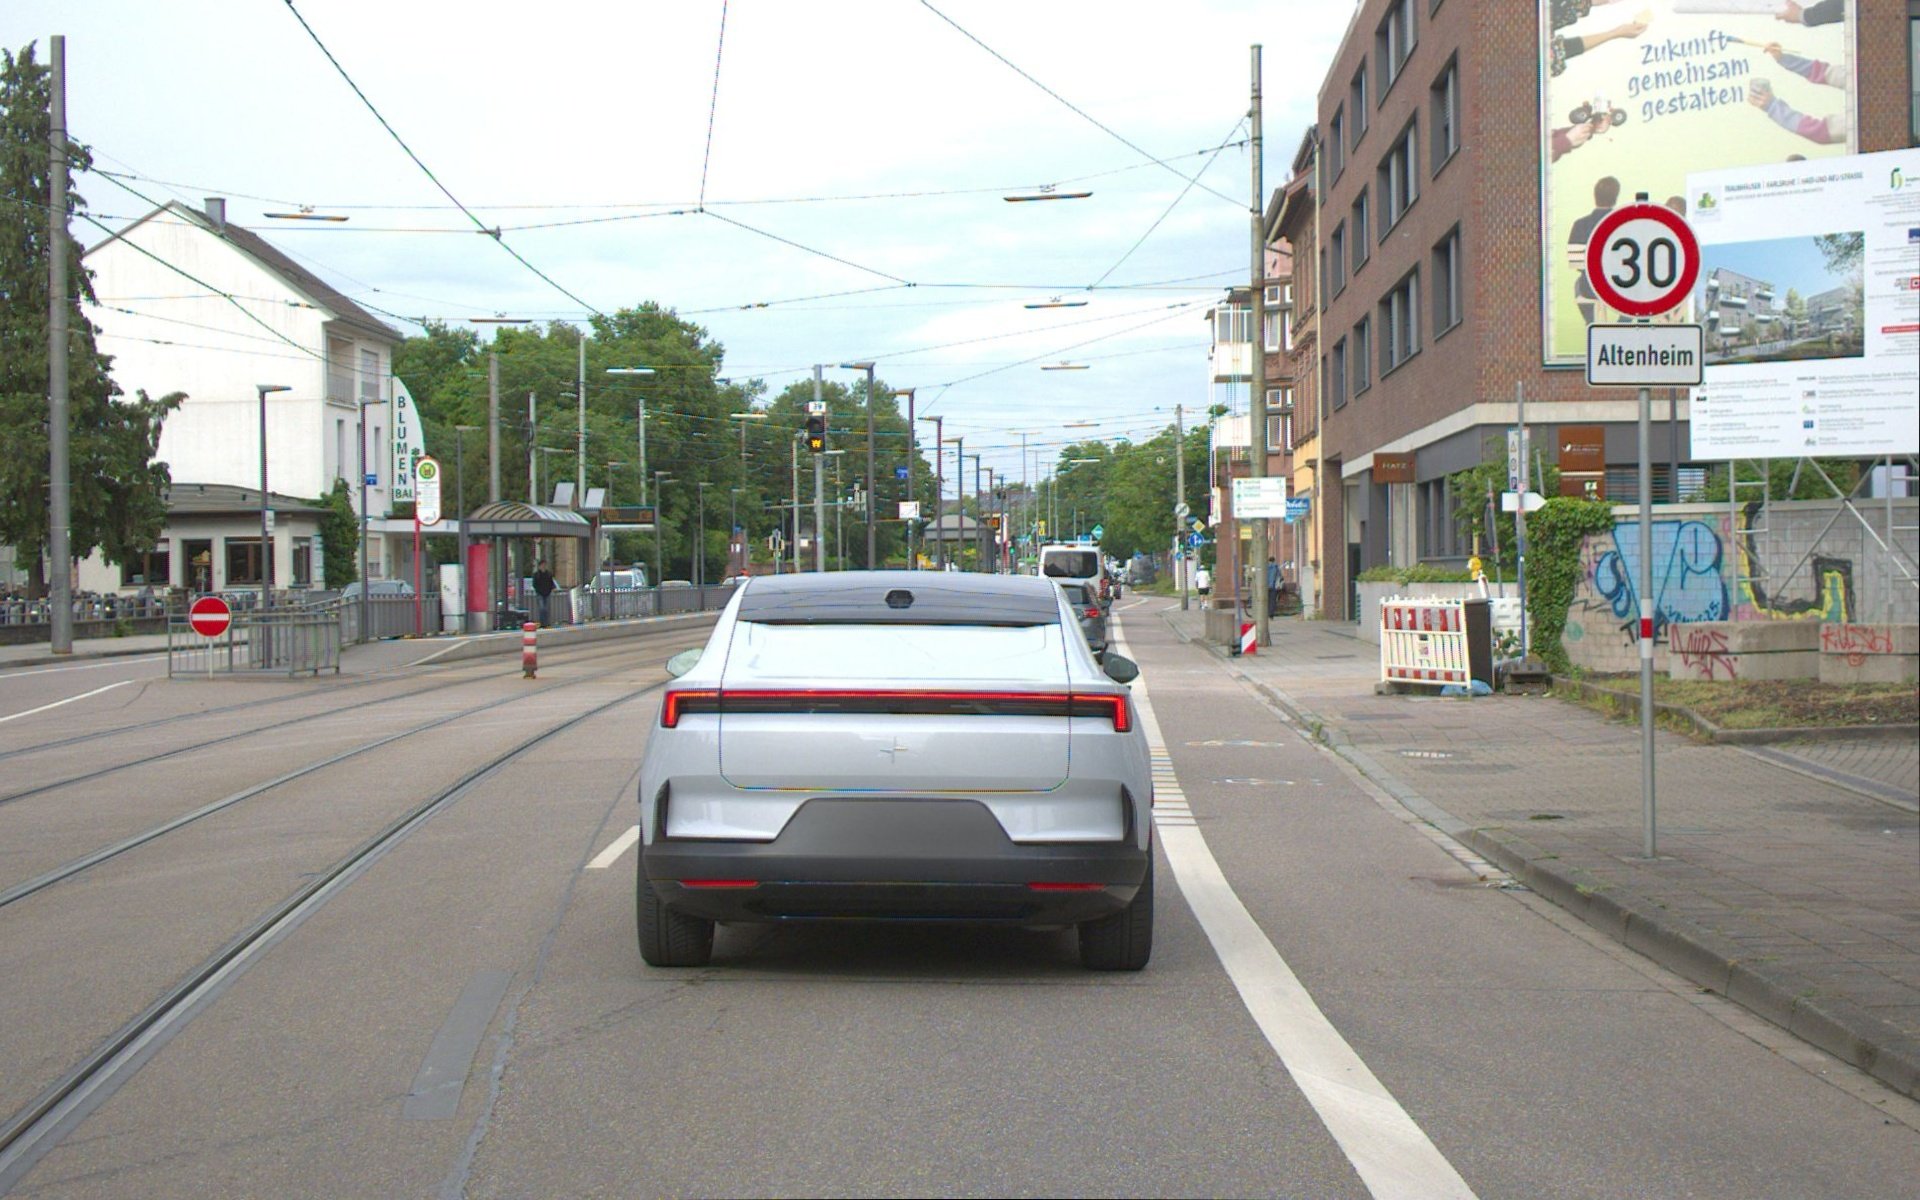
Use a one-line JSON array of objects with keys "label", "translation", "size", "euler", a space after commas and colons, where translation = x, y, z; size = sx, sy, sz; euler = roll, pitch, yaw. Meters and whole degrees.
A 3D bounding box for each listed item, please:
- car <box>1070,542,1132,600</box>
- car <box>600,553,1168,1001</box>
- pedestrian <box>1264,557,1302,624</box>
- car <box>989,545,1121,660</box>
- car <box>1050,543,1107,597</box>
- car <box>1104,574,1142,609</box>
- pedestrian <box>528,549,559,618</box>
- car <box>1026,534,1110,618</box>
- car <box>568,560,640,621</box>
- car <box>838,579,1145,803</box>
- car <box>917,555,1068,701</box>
[{"label": "car", "translation": [4.988, -1.033, 122.285], "size": [1.993, 2.007, 4.000], "euler": [0, 0, -1]}, {"label": "car", "translation": [-0.333, 0.628, 14.183], "size": [1.999, 1.575, 4.000], "euler": [0, 0, -2]}, {"label": "pedestrian", "translation": [9.268, -0.273, 98.589], "size": [0.961, 1.844, 0.975], "euler": [-3, 1, 9]}, {"label": "car", "translation": [1.551, 0.018, 57.468], "size": [1.993, 1.809, 4.000], "euler": [-1, 1, -1]}, {"label": "car", "translation": [4.536, -1.141, 132.028], "size": [1.993, 2.007, 4.000], "euler": [0, 0, -1]}, {"label": "car", "translation": [9.563, -0.503, 202.080], "size": [1.993, 2.007, 4.000], "euler": [0, 0, -1]}, {"label": "pedestrian", "translation": [-10.144, -0.398, 83.739], "size": [0.615, 1.659, 0.697], "euler": [0, 0, 6]}, {"label": "car", "translation": [3.130, -0.696, 100.663], "size": [2.226, 2.394, 5.123], "euler": [0, 0, -1]}, {"label": "car", "translation": [-12.127, -0.328, 117.284], "size": [1.884, 1.982, 4.525], "euler": [-1, 0, 1]}, {"label": "car", "translation": [0.249, 0.588, 24.651], "size": [1.993, 1.415, 4.000], "euler": [-1, 1, 1]}, {"label": "car", "translation": [0.440, 0.314, 41.790], "size": [1.681, 1.682, 3.823], "euler": [0, 0, 3]}]
